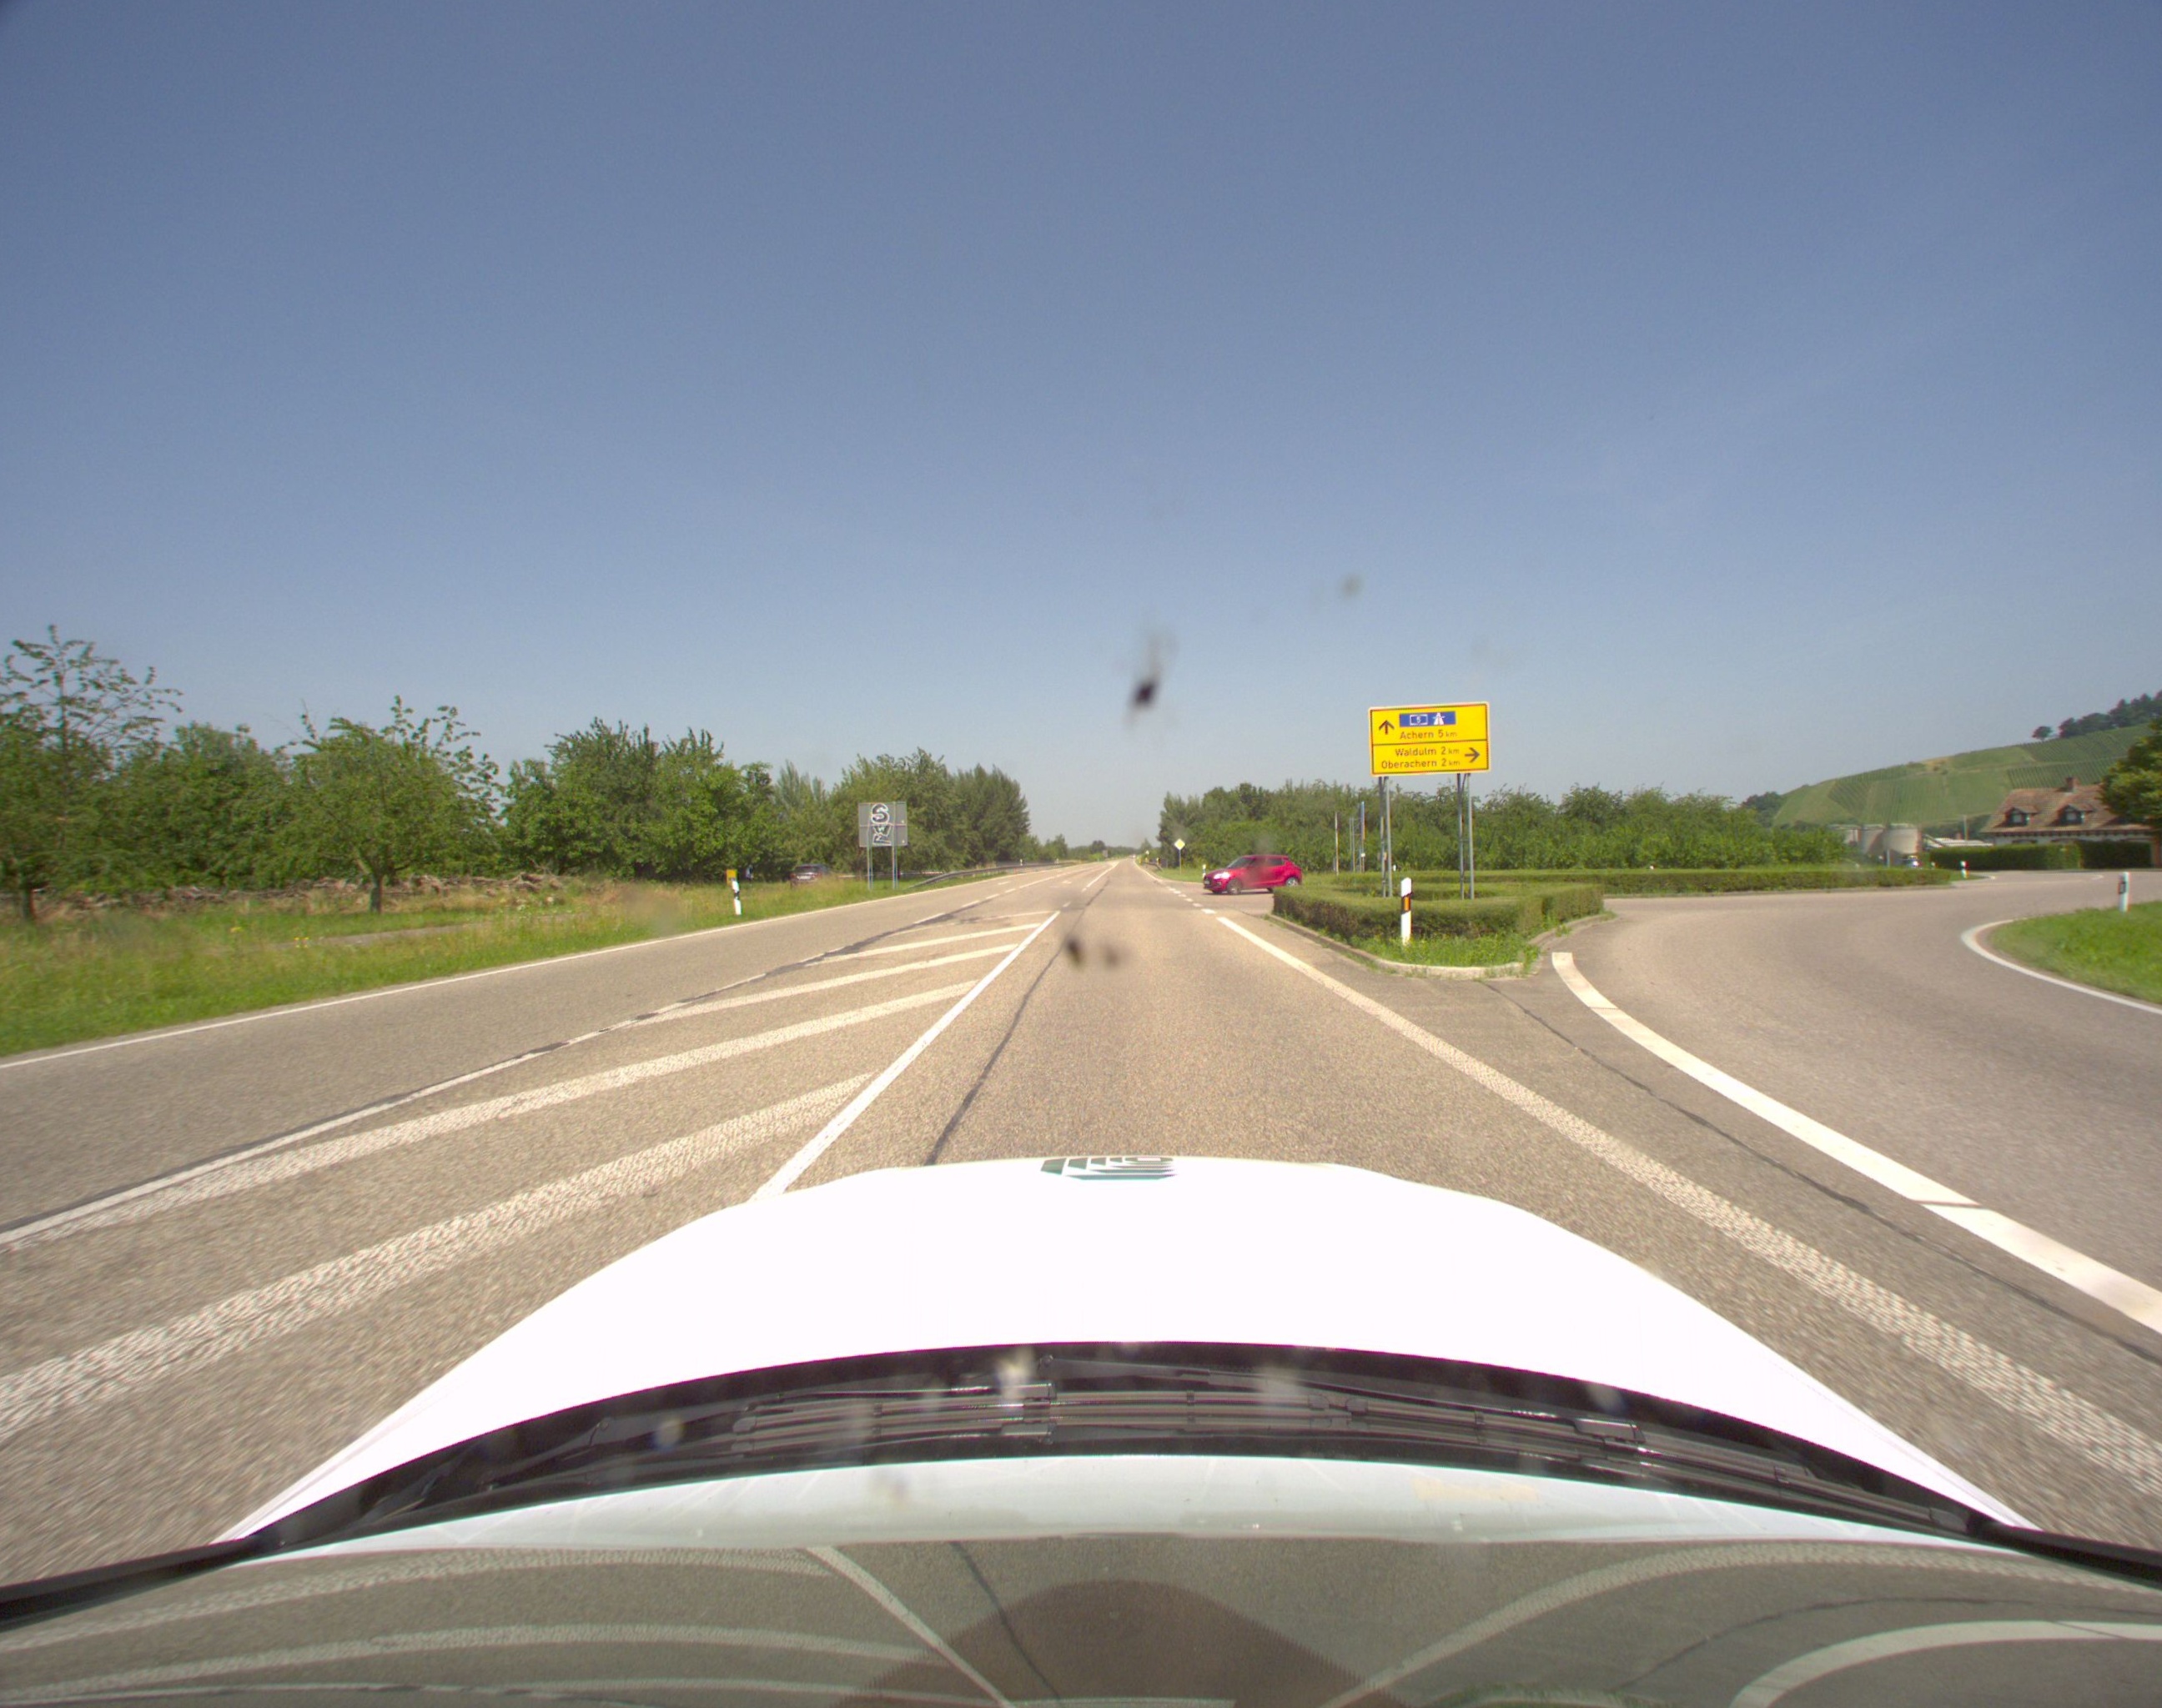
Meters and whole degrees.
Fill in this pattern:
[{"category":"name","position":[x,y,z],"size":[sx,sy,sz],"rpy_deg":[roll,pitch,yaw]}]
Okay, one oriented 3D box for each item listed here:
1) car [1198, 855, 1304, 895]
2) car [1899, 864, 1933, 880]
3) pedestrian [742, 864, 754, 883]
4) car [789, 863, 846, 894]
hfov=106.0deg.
[{"category":"car","position":[6.654,0.789,31.951],"size":[3.746,1.493,1.663],"rpy_deg":[0,0,-15]},{"category":"car","position":[91.381,1.958,89.169],"size":[1.768,1.684,4.026],"rpy_deg":[-1,0,33]},{"category":"pedestrian","position":[-22.662,1.301,55.427],"size":[0.570,1.297,0.557],"rpy_deg":[-1,-1,4]},{"category":"car","position":[-13.621,1.242,42.263],"size":[1.700,1.423,4.040],"rpy_deg":[-2,0,-2]}]
